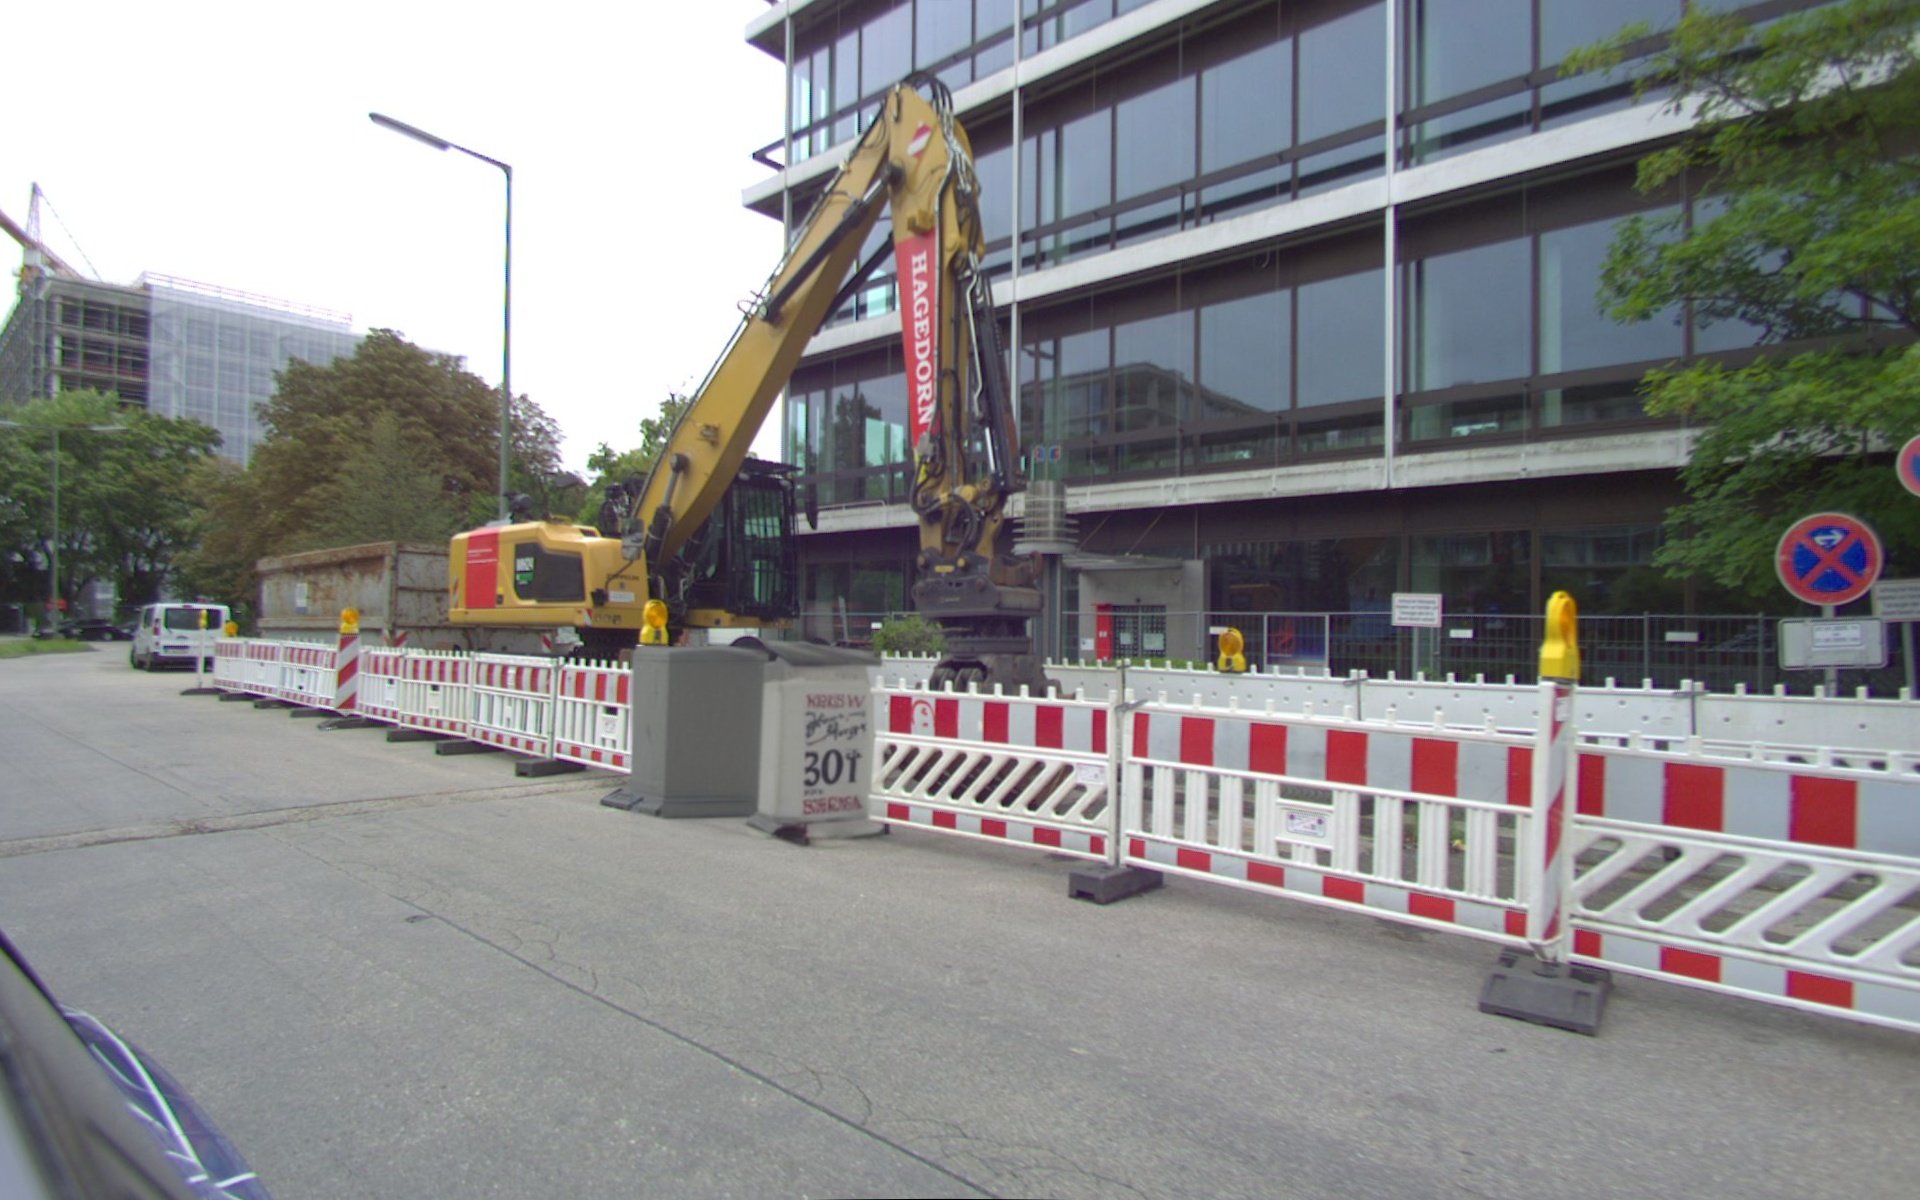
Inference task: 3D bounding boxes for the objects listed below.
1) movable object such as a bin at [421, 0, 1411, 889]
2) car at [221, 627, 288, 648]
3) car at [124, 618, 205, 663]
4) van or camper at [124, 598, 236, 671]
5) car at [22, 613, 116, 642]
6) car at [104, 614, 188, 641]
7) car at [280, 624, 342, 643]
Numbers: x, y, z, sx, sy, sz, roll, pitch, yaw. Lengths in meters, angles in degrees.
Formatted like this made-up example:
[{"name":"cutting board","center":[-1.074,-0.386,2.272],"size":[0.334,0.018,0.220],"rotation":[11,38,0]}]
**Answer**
[{"name":"movable object such as a bin","center":[-1.798,-1.620,10.777],"size":[11.778,6.614,2.874],"rotation":[0,-1,41]},{"name":"car","center":[-50.634,2.650,72.702],"size":[1.509,1.397,3.696],"rotation":[1,-1,19]},{"name":"car","center":[-28.409,1.436,36.093],"size":[1.969,1.470,4.125],"rotation":[4,-3,-42]},{"name":"van or camper","center":[-23.886,1.057,30.895],"size":[1.966,2.050,5.589],"rotation":[3,-4,-45]},{"name":"car","center":[-53.237,1.629,60.562],"size":[1.776,1.584,3.862],"rotation":[1,-1,19]},{"name":"car","center":[-52.160,1.759,64.937],"size":[1.772,1.584,3.869],"rotation":[2,-1,14]},{"name":"car","center":[-49.401,2.544,77.101],"size":[1.513,1.397,3.687],"rotation":[1,-1,26]}]
